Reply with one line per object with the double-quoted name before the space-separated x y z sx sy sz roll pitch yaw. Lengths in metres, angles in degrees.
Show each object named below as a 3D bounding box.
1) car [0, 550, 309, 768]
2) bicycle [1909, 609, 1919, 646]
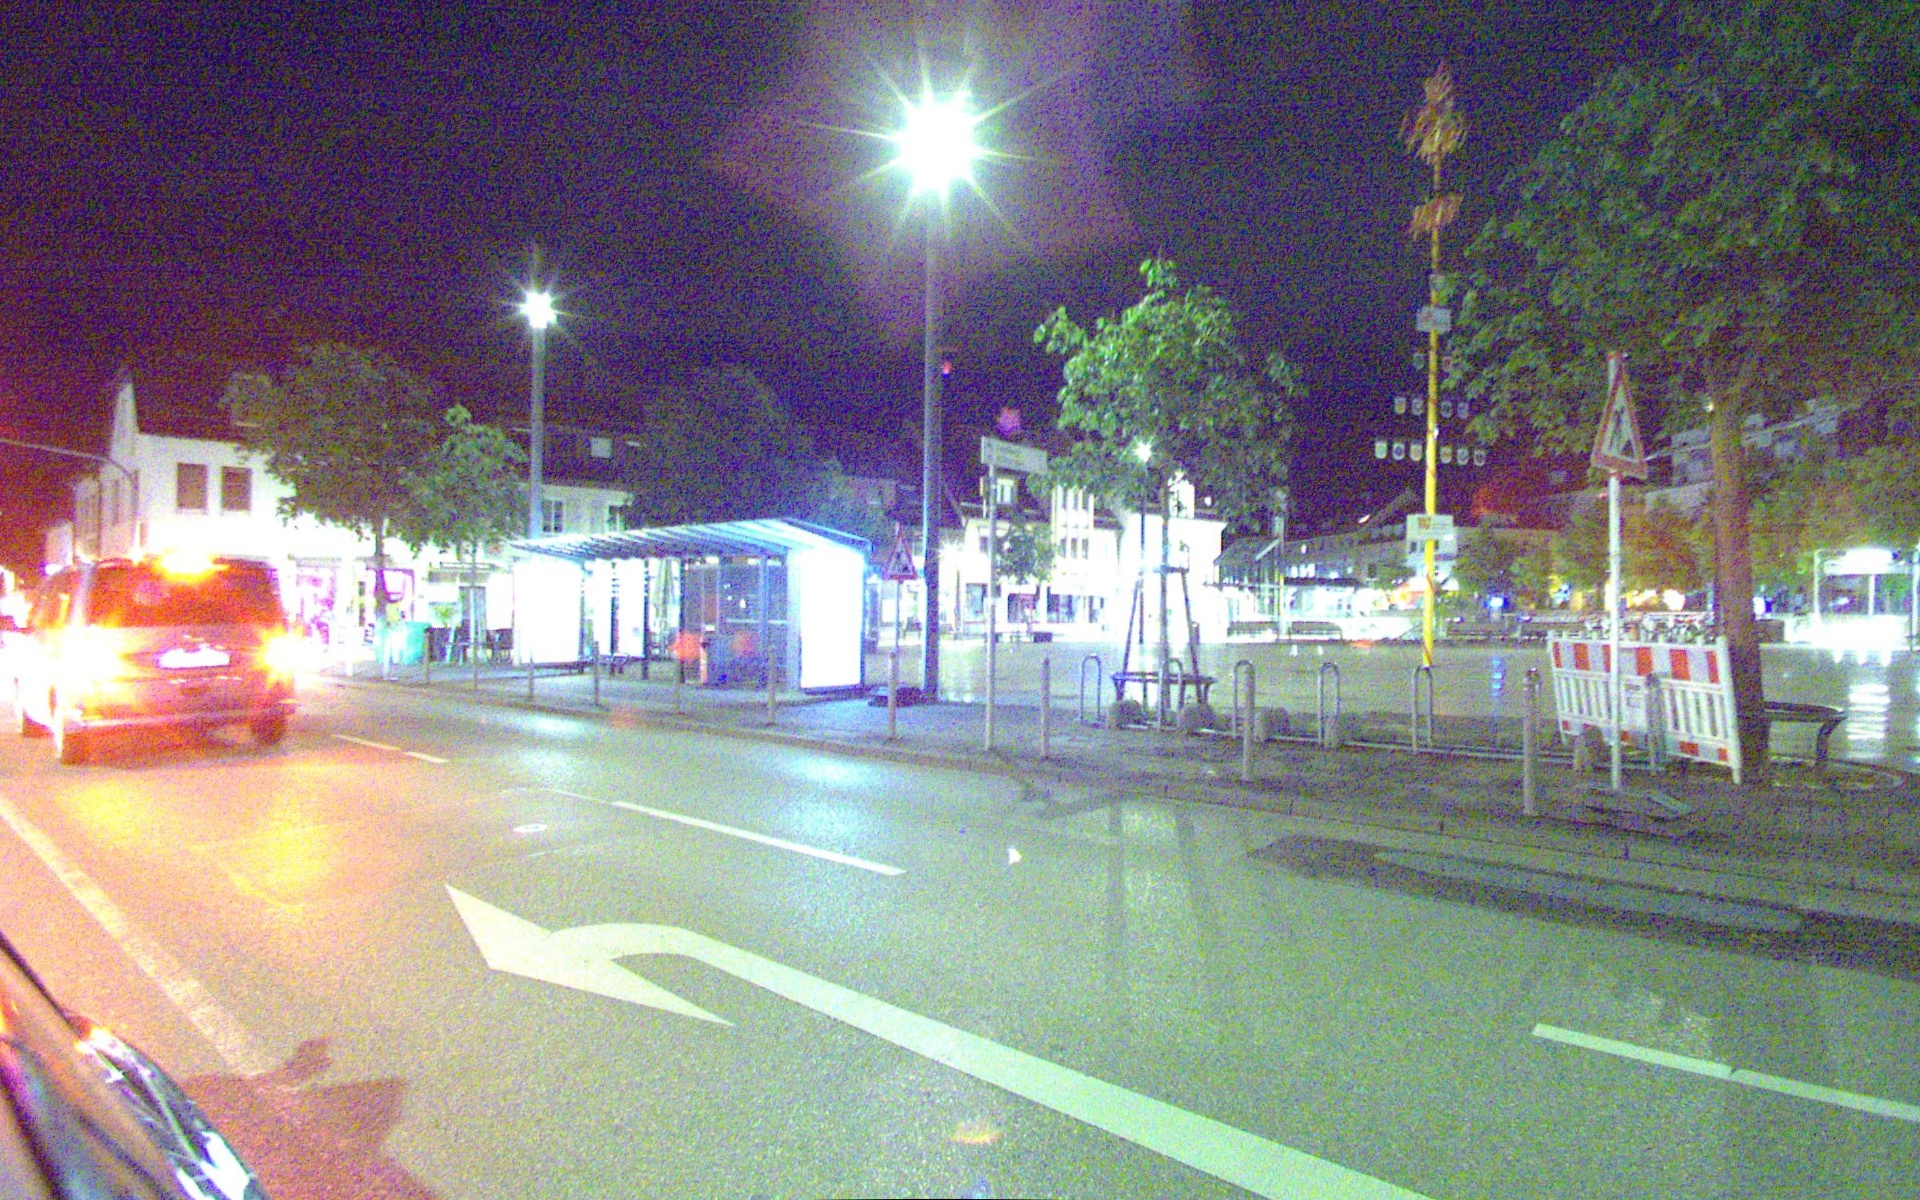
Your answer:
"car" -9.076 0.545 11.095 4.909 1.886 1.946 -1 -1 41
"bicycle" 26.406 0.725 26.976 1.525 0.965 0.476 -1 0 25
